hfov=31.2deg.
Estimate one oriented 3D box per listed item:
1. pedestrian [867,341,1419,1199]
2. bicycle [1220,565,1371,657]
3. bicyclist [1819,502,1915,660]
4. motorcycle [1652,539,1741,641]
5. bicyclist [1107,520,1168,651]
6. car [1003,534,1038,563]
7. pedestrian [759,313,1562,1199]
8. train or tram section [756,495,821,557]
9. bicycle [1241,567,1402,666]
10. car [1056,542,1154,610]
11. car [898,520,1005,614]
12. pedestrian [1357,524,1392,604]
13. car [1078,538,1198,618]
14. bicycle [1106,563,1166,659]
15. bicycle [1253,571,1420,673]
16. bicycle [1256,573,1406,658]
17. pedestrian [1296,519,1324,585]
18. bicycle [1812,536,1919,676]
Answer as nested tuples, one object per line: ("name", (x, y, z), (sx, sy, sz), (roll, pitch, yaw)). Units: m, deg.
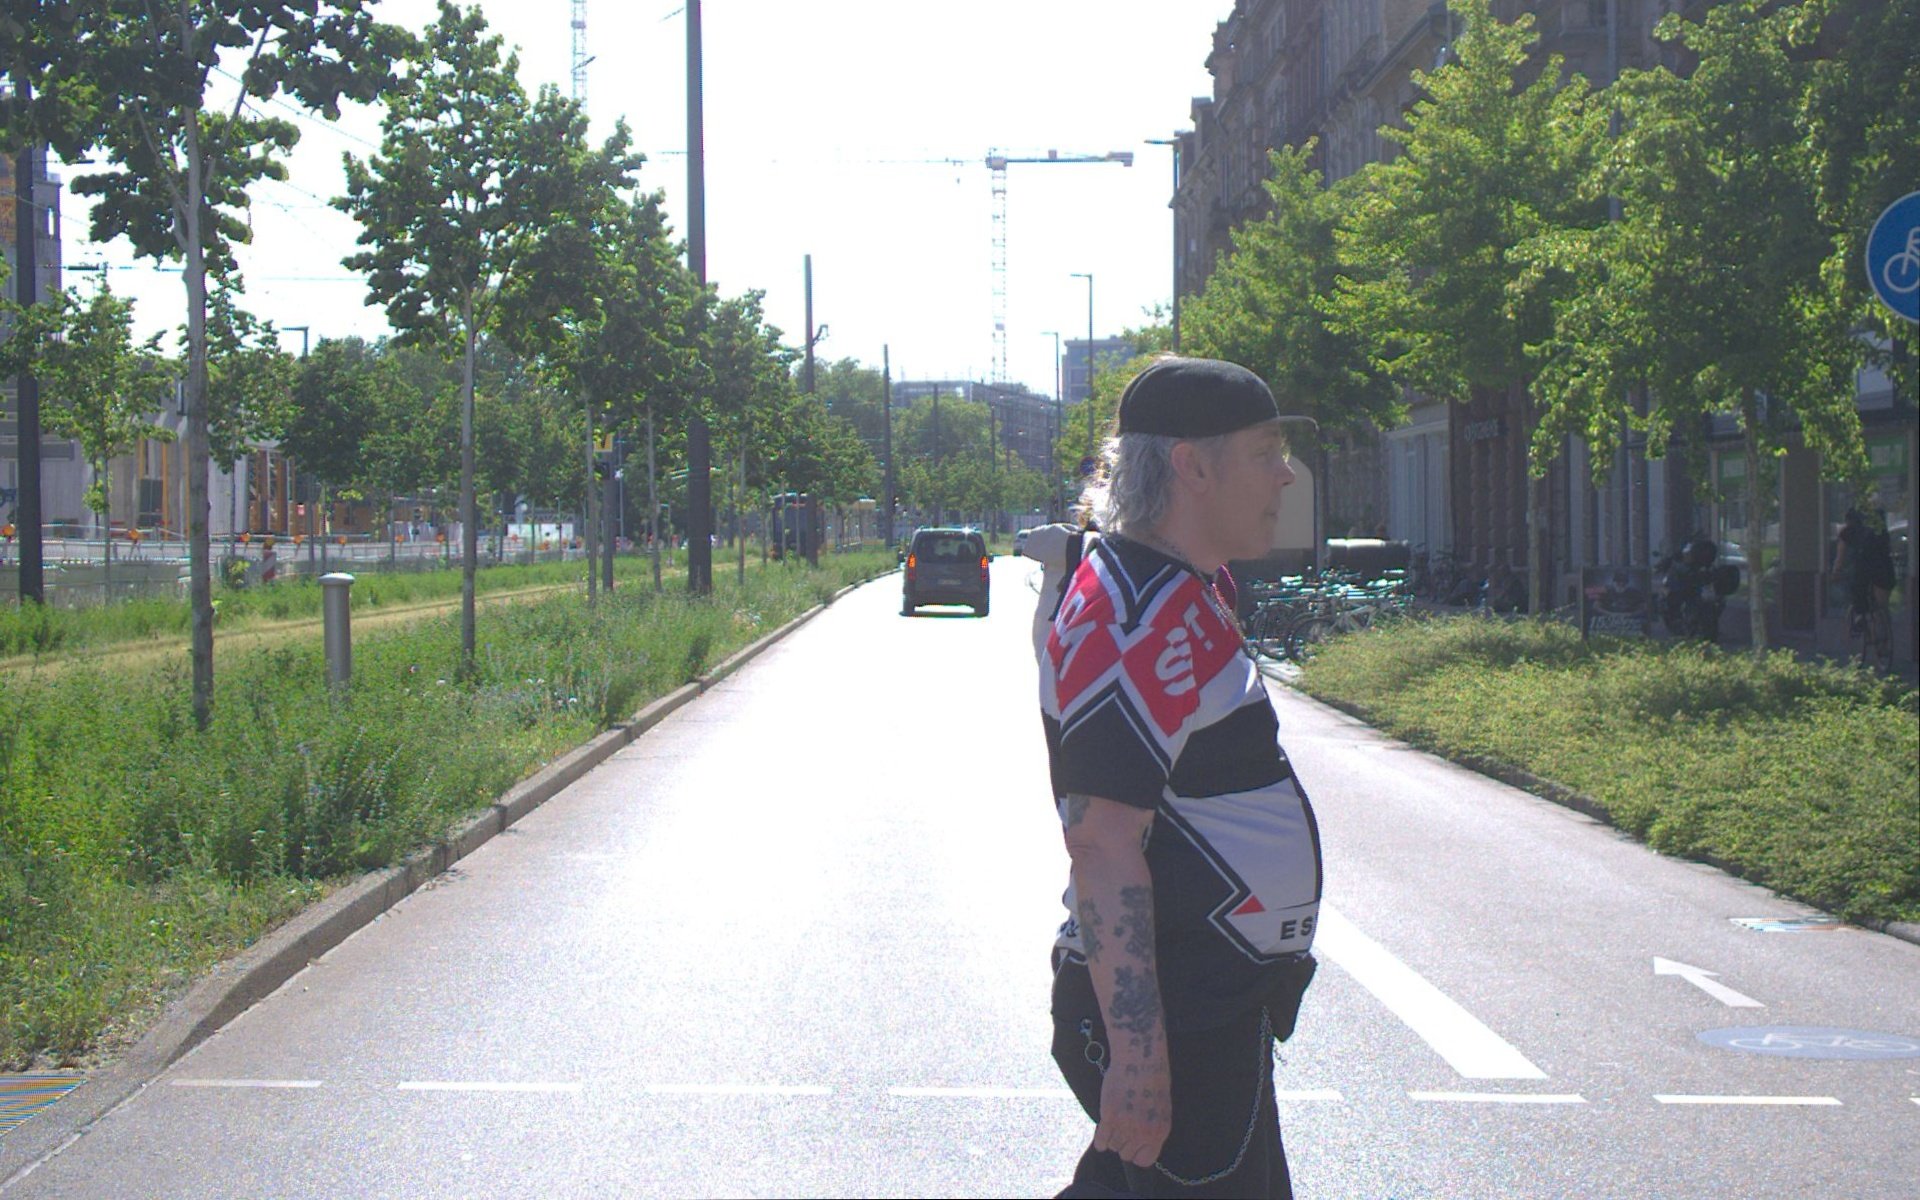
("pedestrian", (0.375, 0.414, 7.391), (1.075, 1.902, 0.653), (-1, 1, -7))
("bicycle", (4.277, 0.141, 43.900), (1.792, 1.027, 0.527), (-5, 1, 0))
("bicyclist", (9.182, -0.200, 34.808), (0.660, 1.525, 0.801), (-4, 1, 1))
("motorcycle", (9.448, -0.147, 44.165), (0.700, 1.263, 1.982), (-1, 1, -1))
("bicyclist", (2.309, -0.196, 44.780), (0.684, 1.667, 0.922), (2, 1, -1))
("car", (3.734, -3.135, 211.708), (1.993, 1.723, 4.000), (1, 0, -1))
("pedestrian", (0.204, 0.558, 4.450), (0.865, 1.782, 0.971), (1, 1, -7))
("train or tram section", (-7.936, -3.386, 160.143), (2.756, 2.733, 9.864), (1, 1, -2))
("bicycle", (4.303, 0.195, 40.950), (1.792, 1.027, 0.527), (-5, 1, 0))
("car", (3.332, -0.578, 79.781), (2.028, 1.493, 4.530), (-1, 1, -1))
("car", (-0.208, -0.733, 73.436), (2.200, 1.919, 4.654), (-1, 1, -1))
("pedestrian", (8.397, -0.727, 69.715), (0.614, 1.606, 0.669), (0, 1, -1))
("car", (3.449, -0.453, 67.336), (2.028, 1.493, 4.654), (-1, 1, -1))
("bicycle", (2.274, 0.126, 44.569), (0.601, 1.177, 1.869), (2, 1, -1))
("bicycle", (4.327, 0.250, 39.577), (1.792, 1.027, 0.527), (-5, 1, 0))
("bicycle", (4.580, 0.185, 42.493), (1.792, 1.027, 0.527), (0, 1, 0))
("pedestrian", (8.630, -1.179, 84.725), (0.614, 1.606, 0.669), (0, 1, -1))
("bicycle", (9.218, 0.040, 34.875), (0.615, 1.326, 1.900), (-4, 1, 1))
